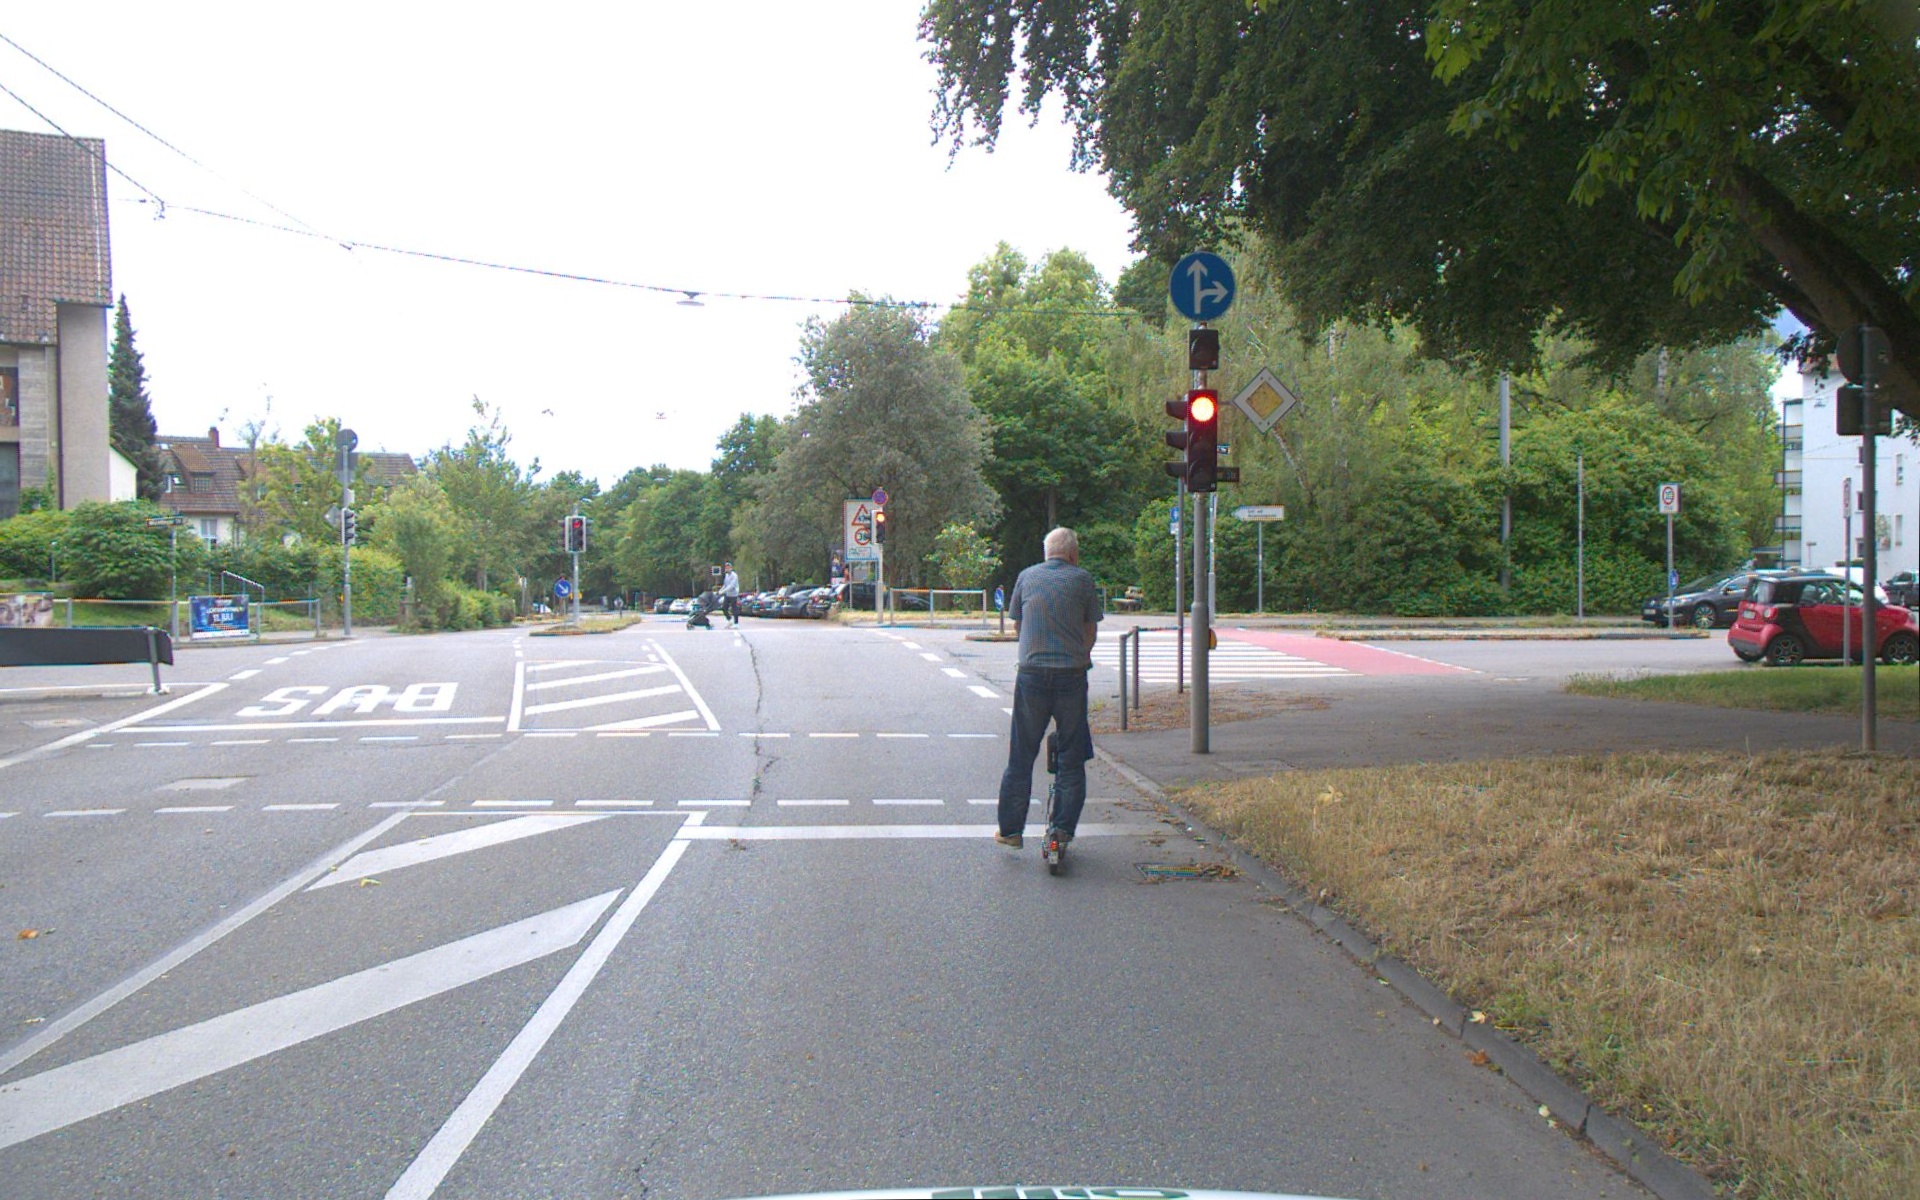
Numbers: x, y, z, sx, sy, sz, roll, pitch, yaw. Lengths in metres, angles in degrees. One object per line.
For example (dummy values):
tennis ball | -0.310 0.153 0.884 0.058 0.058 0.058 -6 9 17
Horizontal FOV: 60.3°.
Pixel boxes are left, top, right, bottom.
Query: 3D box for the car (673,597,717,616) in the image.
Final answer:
car | -25.273 0.635 157.767 3.791 1.639 1.715 -2 1 -24

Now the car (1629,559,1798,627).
car | 18.862 -0.173 41.530 3.444 1.557 1.729 -2 1 5

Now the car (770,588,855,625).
car | -7.257 0.316 81.319 3.791 1.639 1.715 -2 1 -24

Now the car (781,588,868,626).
car | -6.448 0.322 78.795 3.793 1.639 1.714 -2 1 -25

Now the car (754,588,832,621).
car | -8.941 0.233 88.633 3.791 1.639 1.715 -2 1 -24

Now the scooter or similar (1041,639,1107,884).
scooter or similar | 0.631 0.837 8.992 0.276 1.199 1.178 -1 0 7

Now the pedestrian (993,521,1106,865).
pedestrian | 0.498 0.500 9.103 0.560 1.845 0.421 -1 0 7

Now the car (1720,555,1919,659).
car | 15.046 0.094 28.104 3.444 1.639 1.729 -2 1 4

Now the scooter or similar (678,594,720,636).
scooter or similar | -7.039 0.409 44.633 1.087 1.100 0.576 -1 0 -10

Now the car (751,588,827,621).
car | -9.395 0.231 91.035 3.791 1.639 1.715 -2 1 -24

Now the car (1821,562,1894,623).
car | 26.074 -0.241 48.156 1.689 1.639 3.850 -2 1 27

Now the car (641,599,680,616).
car | -32.038 0.802 177.118 3.791 1.639 1.715 -2 1 -24

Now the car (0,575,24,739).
car | -11.496 0.640 15.946 3.923 1.639 1.810 -2 1 -17

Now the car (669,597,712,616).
car | -26.075 0.613 160.068 3.791 1.639 1.715 -2 1 -24

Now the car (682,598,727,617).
car | -24.045 0.690 155.727 3.791 1.639 1.715 -2 1 -24

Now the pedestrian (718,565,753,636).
pedestrian | -6.084 0.011 44.828 0.868 1.895 0.573 -1 0 -10

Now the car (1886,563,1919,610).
car | 35.428 -0.523 60.837 1.686 1.639 3.856 -2 1 19

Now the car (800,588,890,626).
car | -5.351 0.318 76.848 3.788 1.639 1.717 -2 1 -22
